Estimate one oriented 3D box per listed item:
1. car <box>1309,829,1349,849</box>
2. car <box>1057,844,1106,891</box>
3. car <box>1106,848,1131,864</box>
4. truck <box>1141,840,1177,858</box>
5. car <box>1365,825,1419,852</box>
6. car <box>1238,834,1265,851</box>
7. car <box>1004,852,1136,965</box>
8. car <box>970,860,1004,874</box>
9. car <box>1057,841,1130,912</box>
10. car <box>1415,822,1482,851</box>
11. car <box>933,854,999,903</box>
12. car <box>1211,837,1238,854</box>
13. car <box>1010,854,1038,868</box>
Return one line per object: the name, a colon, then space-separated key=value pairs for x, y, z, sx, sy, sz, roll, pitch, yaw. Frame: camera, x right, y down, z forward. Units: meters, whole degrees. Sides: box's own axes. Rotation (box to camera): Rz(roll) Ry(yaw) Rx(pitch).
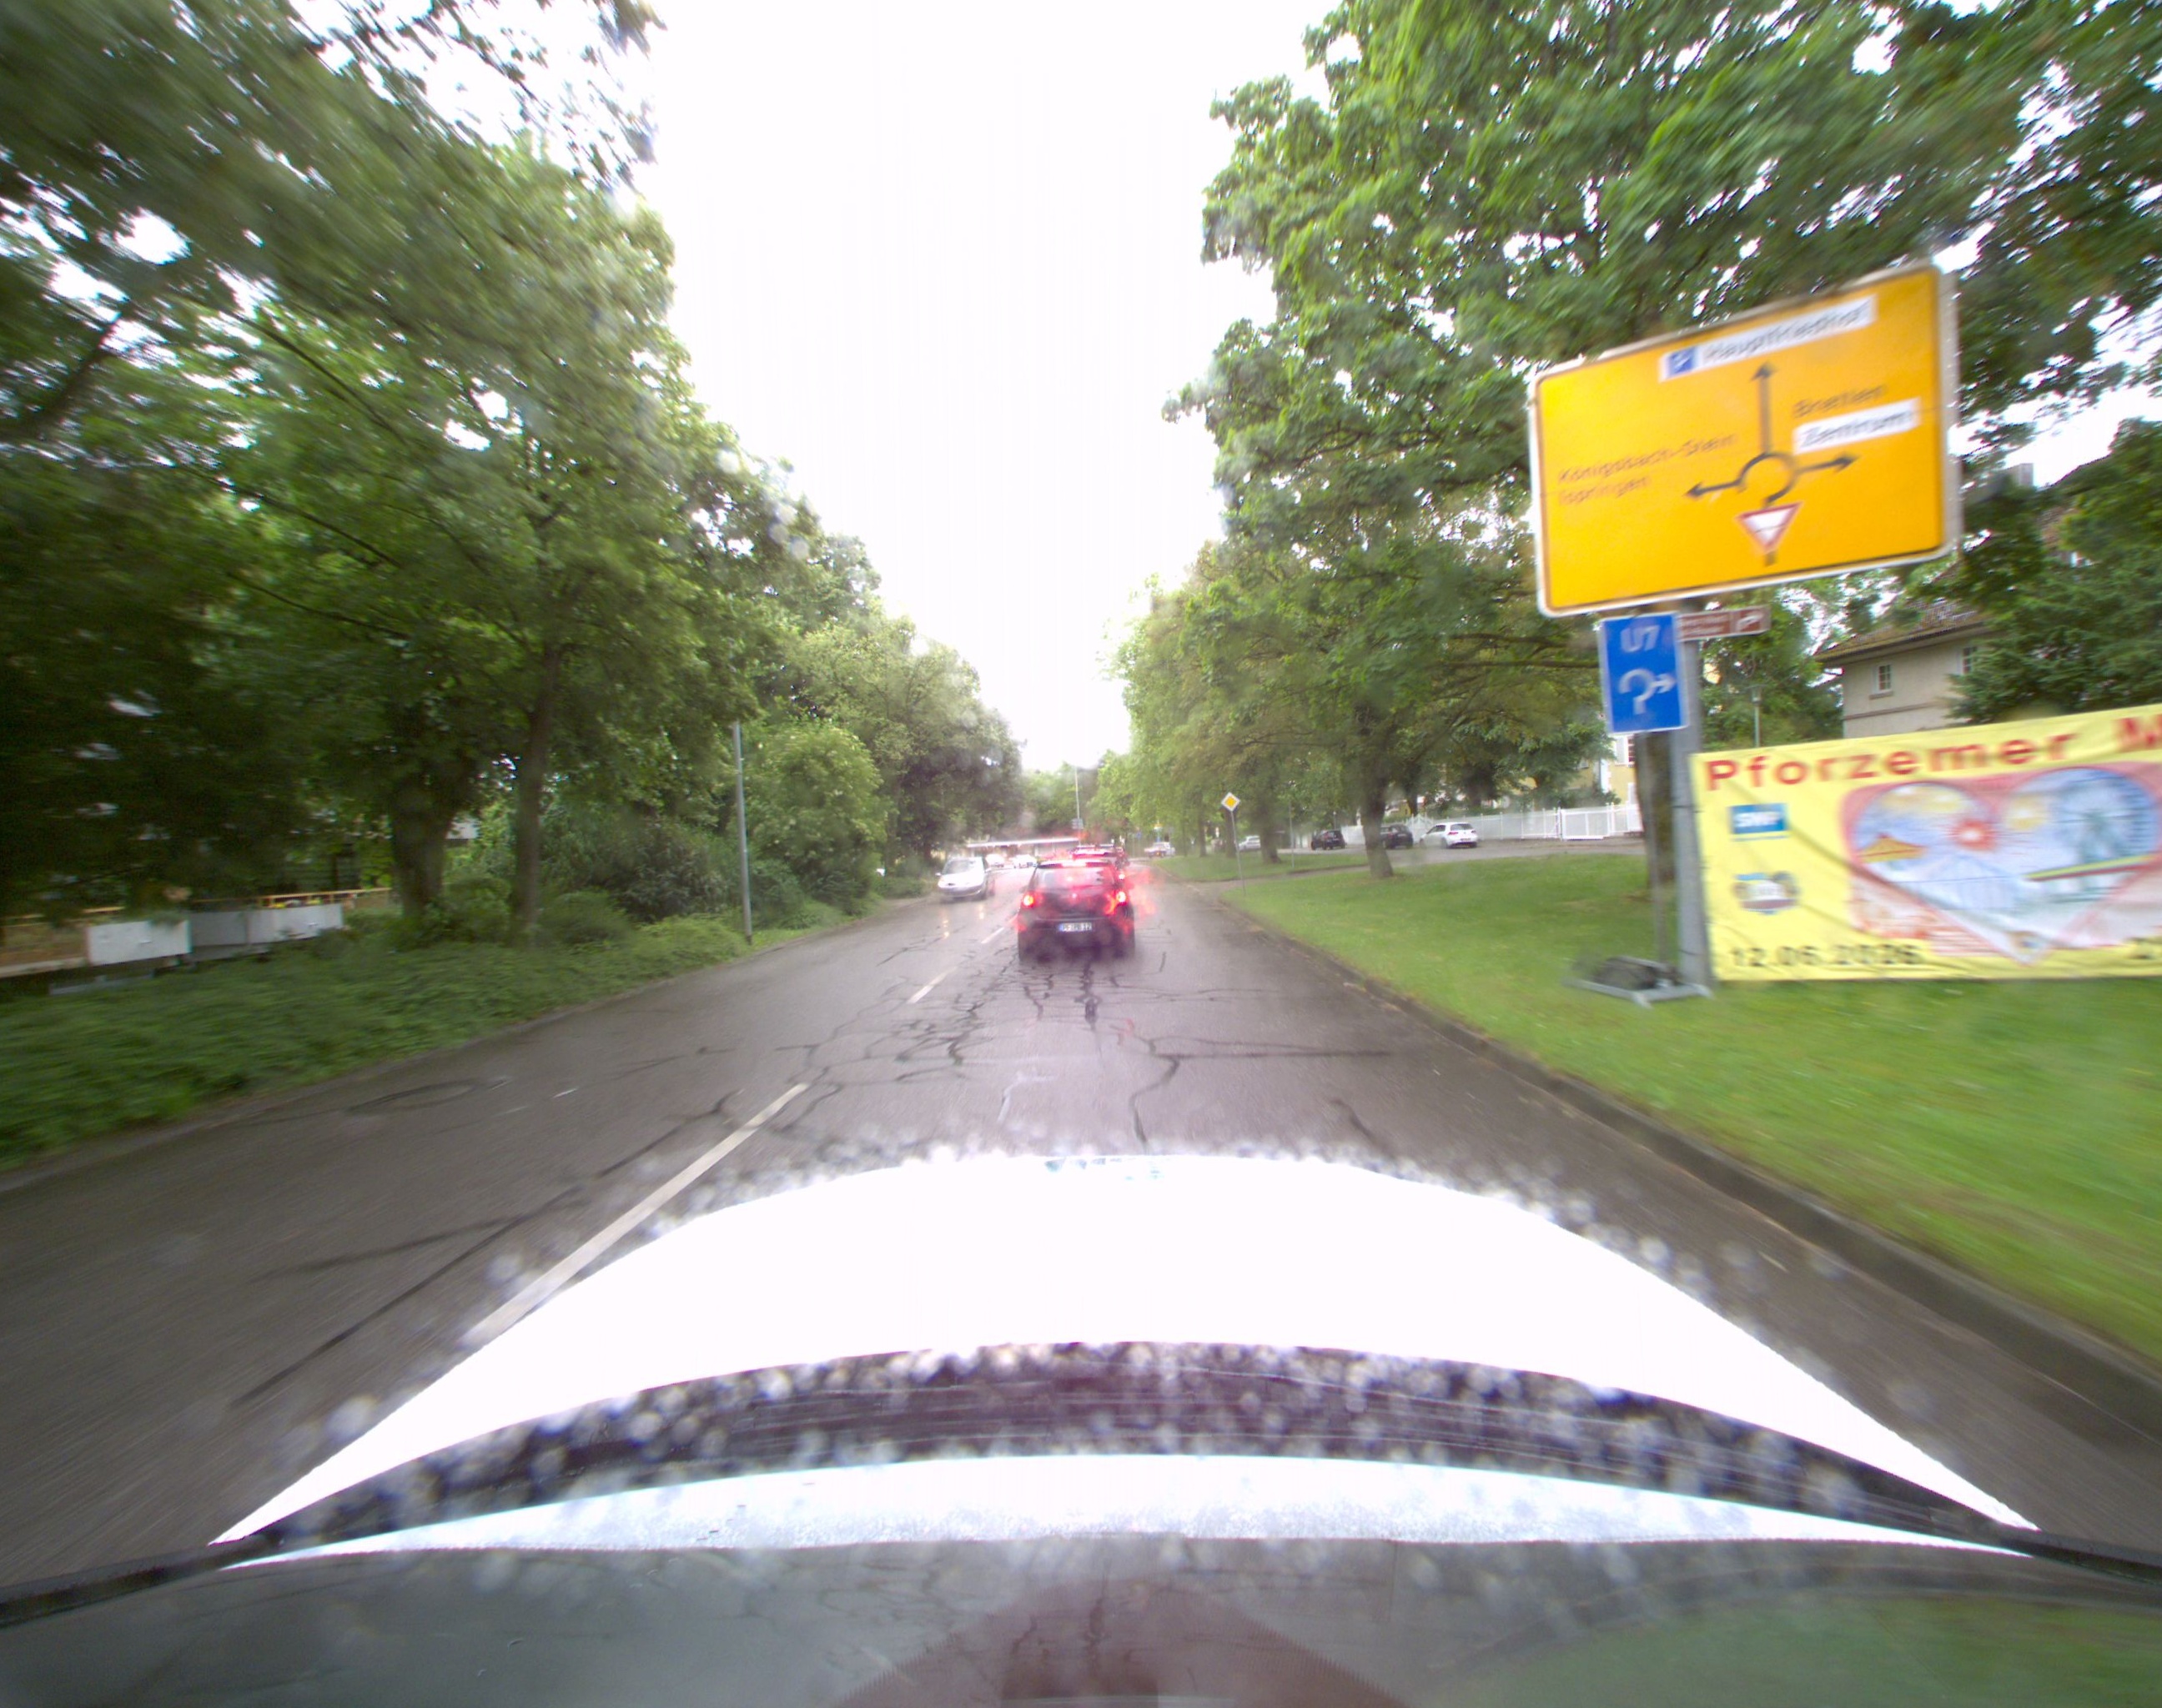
car: x=19.651 y=-1.172 z=64.697 sx=1.797 sy=1.411 sz=4.111 roll=-4 pitch=1 yaw=-1
car: x=0.075 y=0.564 z=34.617 sx=1.848 sy=1.784 sz=4.002 roll=-3 pitch=0 yaw=2
car: x=4.057 y=0.196 z=88.040 sx=1.693 sy=1.513 sz=3.690 roll=-4 pitch=0 yaw=17
truck: x=9.876 y=-0.613 z=102.937 sx=2.393 sy=2.004 sz=5.184 roll=-4 pitch=0 yaw=32
car: x=19.998 y=-1.014 z=52.569 sx=1.797 sy=1.529 sz=4.111 roll=-4 pitch=1 yaw=-1
car: x=16.201 y=-1.122 z=77.597 sx=1.797 sy=1.406 sz=4.002 roll=-5 pitch=1 yaw=2
car: x=-0.089 y=0.772 z=13.283 sx=1.792 sy=1.515 sz=3.755 roll=-2 pitch=0 yaw=2
car: x=-11.546 y=1.579 z=100.195 sx=3.757 sy=1.618 sz=1.788 roll=-2 pitch=0 yaw=24
car: x=0.408 y=0.582 z=23.561 sx=1.848 sy=1.784 sz=4.002 roll=-3 pitch=0 yaw=2
car: x=20.240 y=-0.973 z=45.062 sx=1.613 sy=1.409 sz=4.005 roll=-4 pitch=1 yaw=-4
car: x=-4.287 y=0.871 z=30.868 sx=1.758 sy=1.614 sz=4.141 roll=-4 pitch=0 yaw=1
car: x=13.637 y=-0.811 z=77.542 sx=1.797 sy=1.385 sz=4.002 roll=-5 pitch=1 yaw=2
car: x=-6.219 y=0.751 z=88.327 sx=1.616 sy=1.427 sz=3.975 roll=-4 pitch=1 yaw=-25
